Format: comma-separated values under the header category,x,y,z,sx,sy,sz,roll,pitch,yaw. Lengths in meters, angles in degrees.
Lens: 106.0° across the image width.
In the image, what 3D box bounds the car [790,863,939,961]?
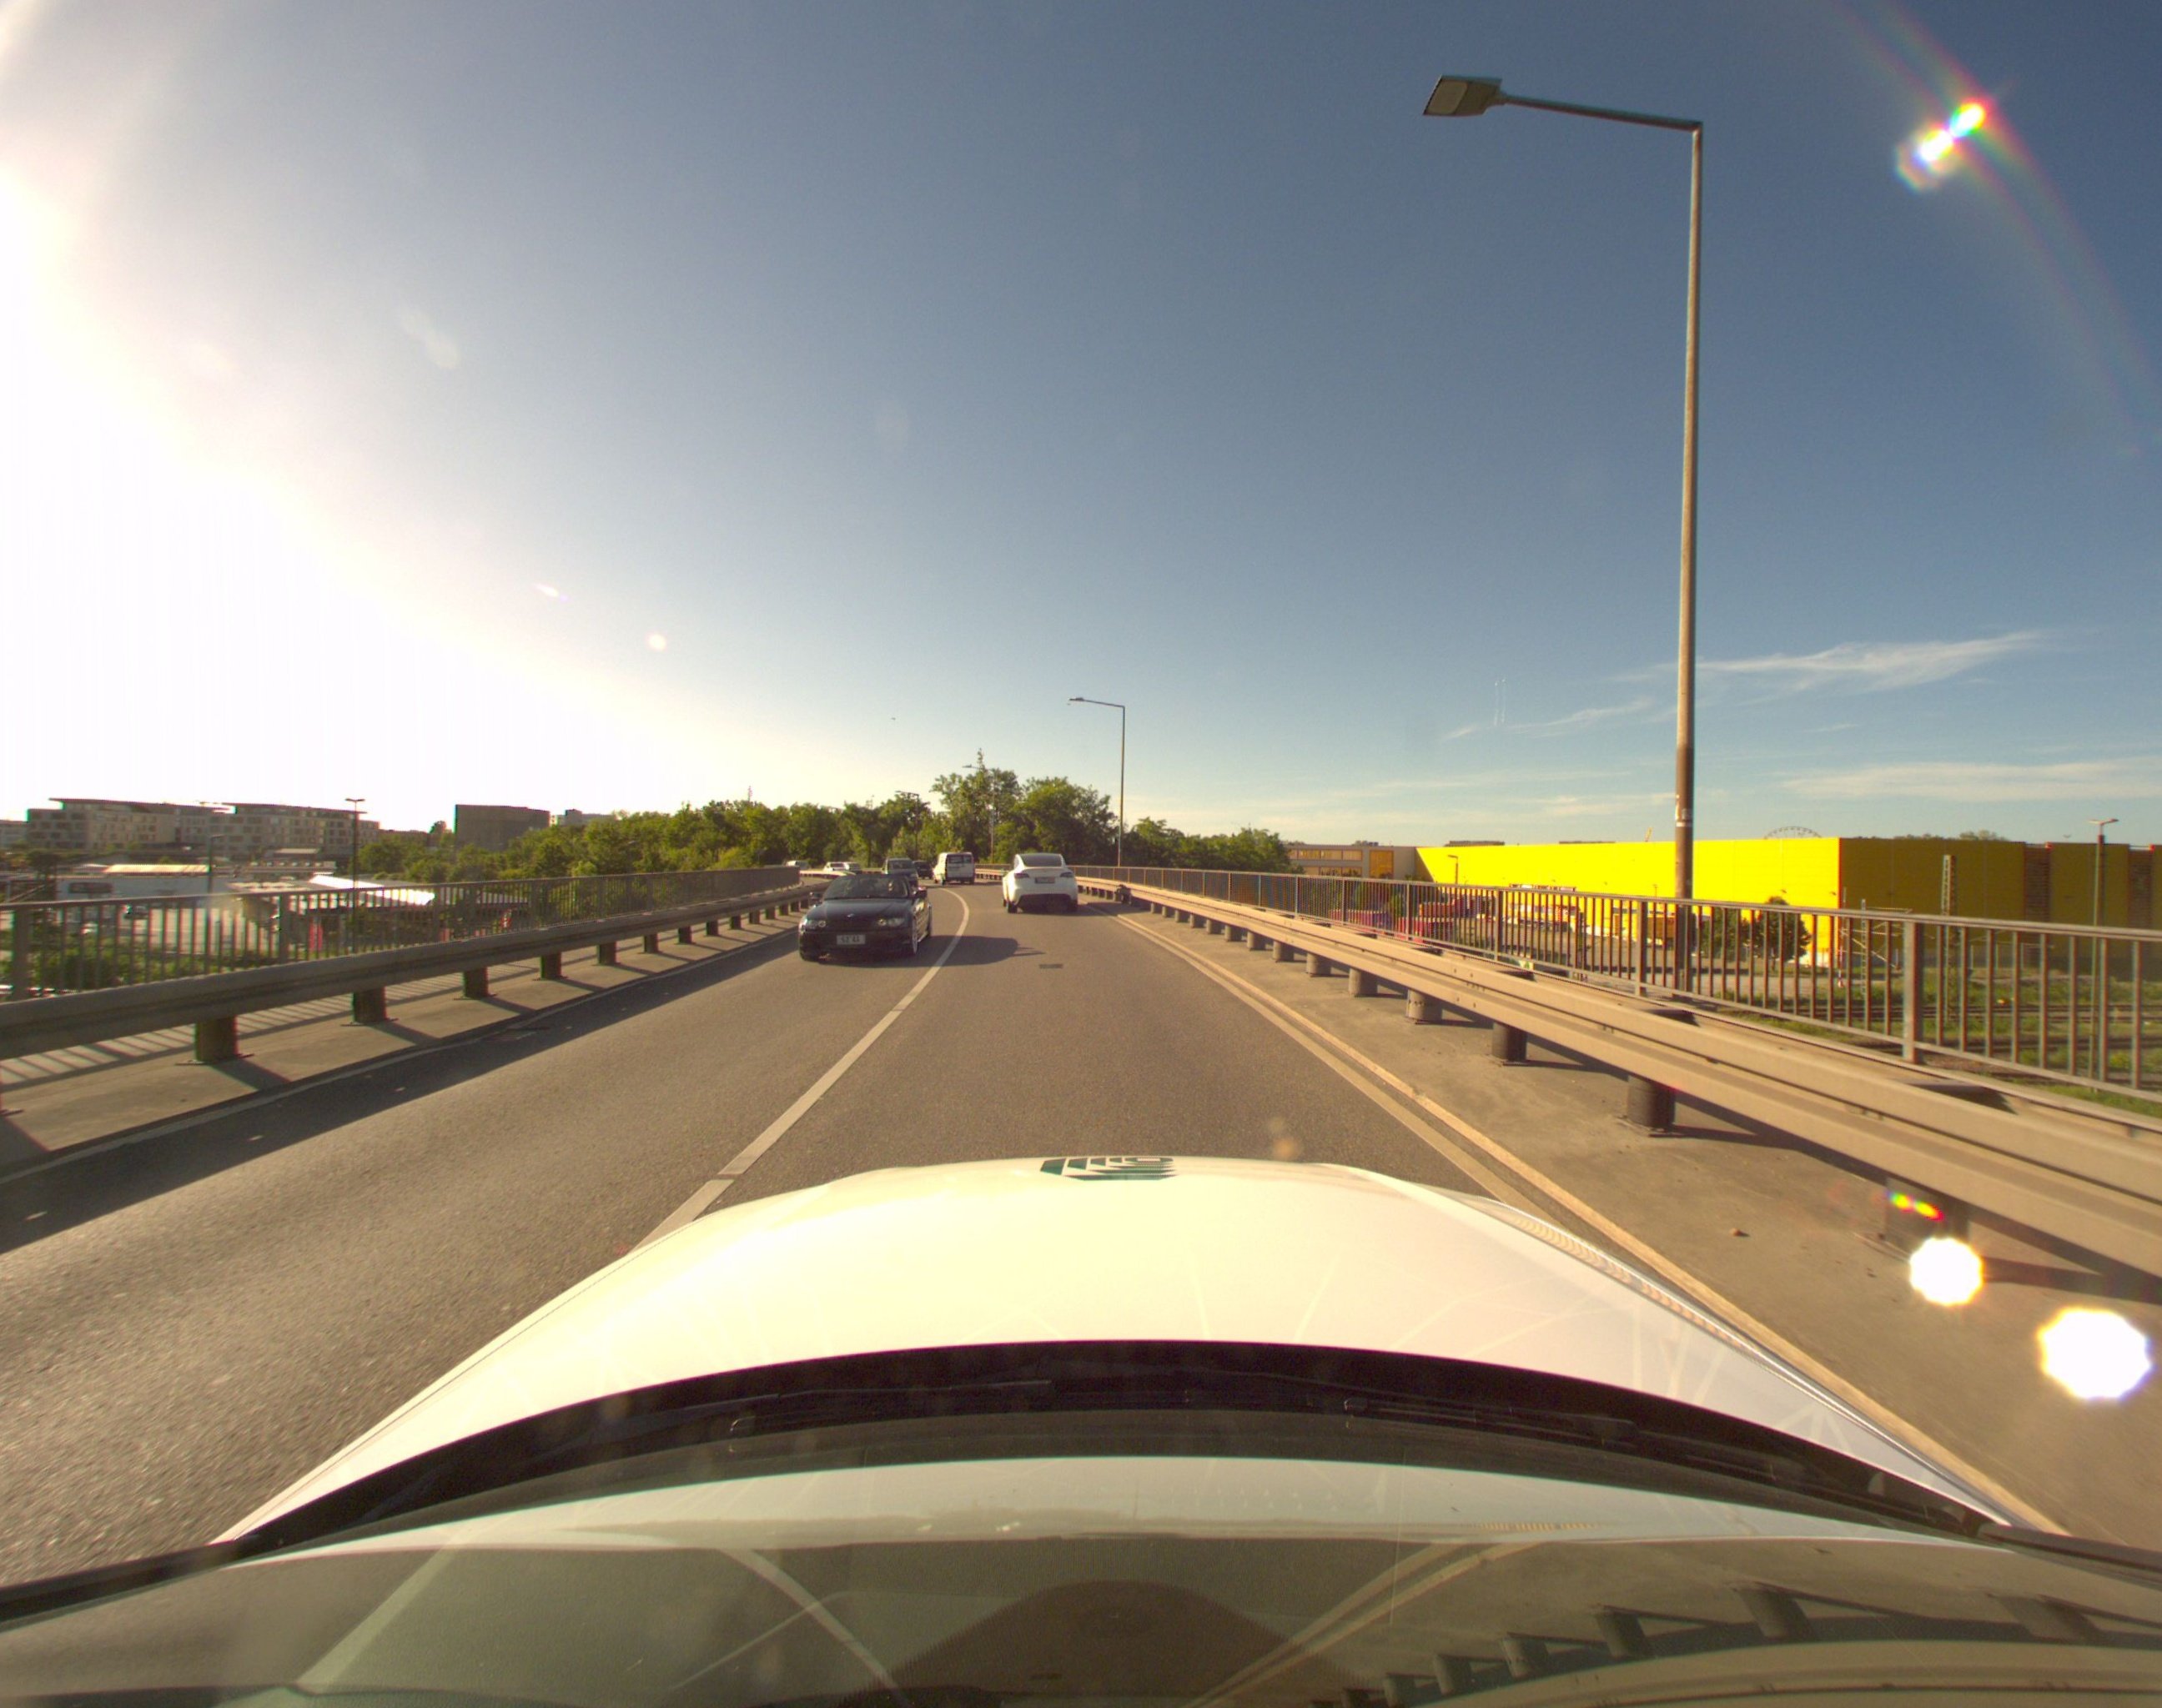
category,x,y,z,sx,sy,sz,roll,pitch,yaw
car,-3.532,0.862,14.042,1.742,1.355,4.175,-1,0,-5

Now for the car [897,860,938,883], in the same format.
category,x,y,z,sx,sy,sz,roll,pitch,yaw
car,-12.708,1.342,63.154,1.981,1.638,3.962,-2,-1,-30

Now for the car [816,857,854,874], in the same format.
category,x,y,z,sx,sy,sz,roll,pitch,yaw
car,-22.458,1.067,74.353,1.853,1.519,3.724,-1,0,-42

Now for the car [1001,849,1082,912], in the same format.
category,x,y,z,sx,sy,sz,roll,pitch,yaw
car,-1.213,0.709,23.310,1.984,1.638,4.051,0,-1,-8

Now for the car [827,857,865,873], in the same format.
category,x,y,z,sx,sy,sz,roll,pitch,yaw
car,-24.011,1.128,83.166,3.864,1.585,1.877,-1,0,40

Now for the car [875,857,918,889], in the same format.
category,x,y,z,sx,sy,sz,roll,pitch,yaw
car,-10.204,1.009,44.755,1.854,1.623,4.076,-1,0,-19

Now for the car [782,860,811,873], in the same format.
category,x,y,z,sx,sy,sz,roll,pitch,yaw
car,-34.400,1.489,98.443,1.852,1.555,3.846,-1,0,-43

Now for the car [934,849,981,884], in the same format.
category,x,y,z,sx,sy,sz,roll,pitch,yaw
car,-7.397,0.724,48.515,2.011,1.940,4.439,-1,0,-19
